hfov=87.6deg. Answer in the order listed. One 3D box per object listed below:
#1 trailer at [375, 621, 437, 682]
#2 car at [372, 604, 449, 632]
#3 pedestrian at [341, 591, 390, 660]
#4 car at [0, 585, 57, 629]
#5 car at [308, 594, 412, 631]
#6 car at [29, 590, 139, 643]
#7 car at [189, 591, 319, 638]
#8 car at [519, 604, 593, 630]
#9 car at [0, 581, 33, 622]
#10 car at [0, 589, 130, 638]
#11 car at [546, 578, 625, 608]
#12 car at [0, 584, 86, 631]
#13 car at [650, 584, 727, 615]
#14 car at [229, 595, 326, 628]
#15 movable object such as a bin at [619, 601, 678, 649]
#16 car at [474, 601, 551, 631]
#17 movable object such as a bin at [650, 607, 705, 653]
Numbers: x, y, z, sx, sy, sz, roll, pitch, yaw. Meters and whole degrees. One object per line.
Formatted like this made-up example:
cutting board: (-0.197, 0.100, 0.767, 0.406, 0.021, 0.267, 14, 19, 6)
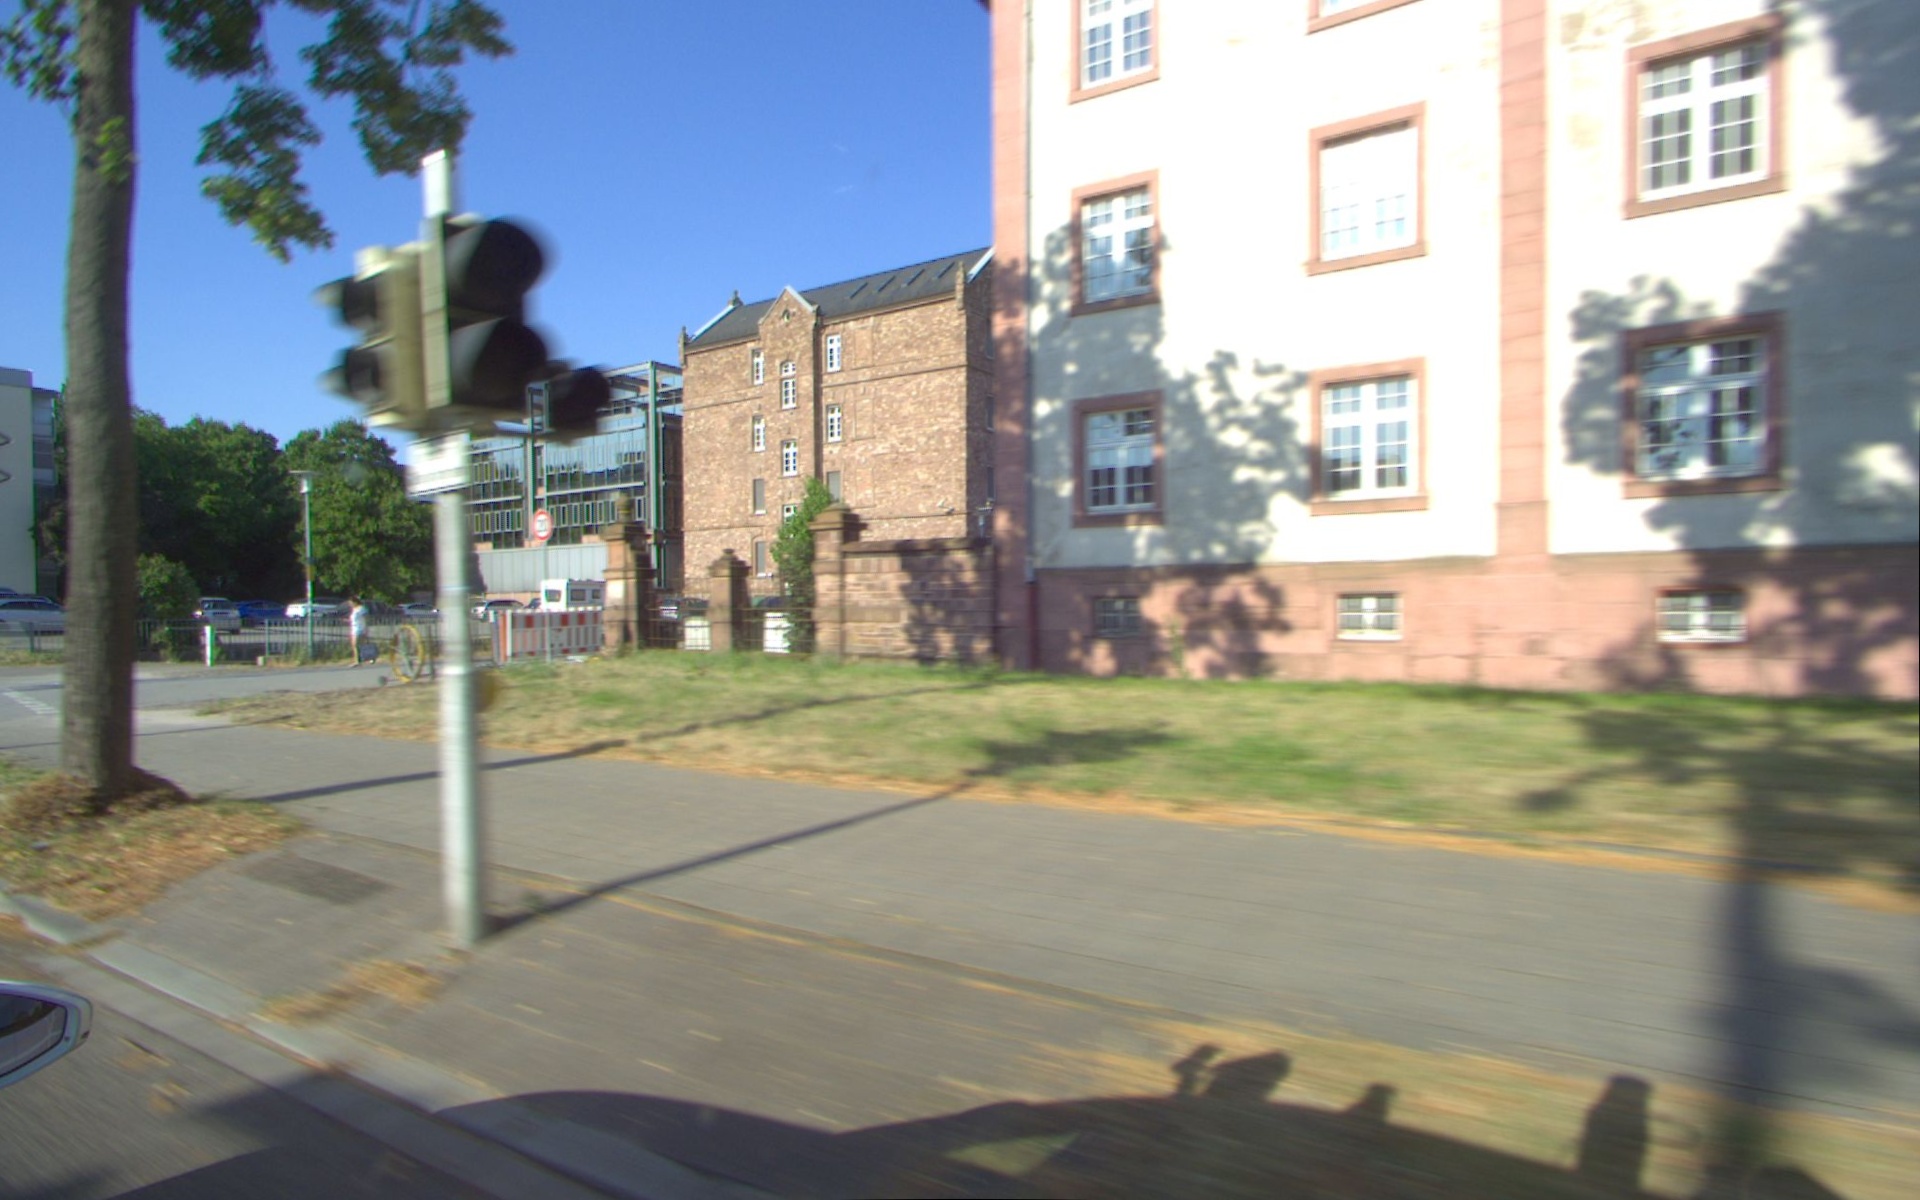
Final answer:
trailer: (-10.108, 0.943, 18.269, 1.250, 1.080, 0.481, -2, -2, 35)
car: (-38.061, 1.286, 69.476, 1.970, 1.747, 4.272, -1, -3, 29)
pedestrian: (-14.417, 0.634, 24.291, 0.777, 1.631, 0.713, -1, -2, 27)
car: (-41.357, 0.277, 42.583, 1.970, 1.816, 3.984, -1, -3, 30)
car: (-31.454, 0.693, 52.601, 1.970, 1.747, 4.272, -1, -3, 29)
car: (-29.677, 0.610, 33.893, 3.941, 1.682, 1.651, -2, -3, 31)
car: (-29.627, 0.666, 42.135, 1.970, 1.816, 3.985, -1, -3, 29)
car: (-25.067, 1.091, 62.270, 1.803, 1.522, 4.070, -1, -3, 29)
car: (-45.157, 0.048, 45.515, 1.970, 1.816, 3.985, -1, -3, 29)
car: (-36.510, 0.602, 40.575, 1.970, 1.816, 3.985, -1, -3, 29)
car: (-21.522, -0.366, 57.674, 1.803, 1.522, 4.070, -1, -3, 29)
car: (-39.057, 0.337, 41.362, 1.970, 1.816, 3.985, -1, -3, 29)
car: (-15.026, 0.004, 55.596, 1.804, 1.522, 4.067, -1, -3, 31)
car: (-39.828, 0.698, 58.545, 1.970, 1.747, 4.272, -1, -3, 29)
movable object such as a bin: (-7.298, 0.599, 23.465, 0.929, 1.105, 0.979, -2, -3, 43)
car: (-28.808, 1.078, 64.591, 1.970, 1.747, 4.272, -1, -3, 29)
movable object such as a bin: (-6.964, 0.747, 24.671, 0.929, 1.105, 0.979, -2, -3, 43)
